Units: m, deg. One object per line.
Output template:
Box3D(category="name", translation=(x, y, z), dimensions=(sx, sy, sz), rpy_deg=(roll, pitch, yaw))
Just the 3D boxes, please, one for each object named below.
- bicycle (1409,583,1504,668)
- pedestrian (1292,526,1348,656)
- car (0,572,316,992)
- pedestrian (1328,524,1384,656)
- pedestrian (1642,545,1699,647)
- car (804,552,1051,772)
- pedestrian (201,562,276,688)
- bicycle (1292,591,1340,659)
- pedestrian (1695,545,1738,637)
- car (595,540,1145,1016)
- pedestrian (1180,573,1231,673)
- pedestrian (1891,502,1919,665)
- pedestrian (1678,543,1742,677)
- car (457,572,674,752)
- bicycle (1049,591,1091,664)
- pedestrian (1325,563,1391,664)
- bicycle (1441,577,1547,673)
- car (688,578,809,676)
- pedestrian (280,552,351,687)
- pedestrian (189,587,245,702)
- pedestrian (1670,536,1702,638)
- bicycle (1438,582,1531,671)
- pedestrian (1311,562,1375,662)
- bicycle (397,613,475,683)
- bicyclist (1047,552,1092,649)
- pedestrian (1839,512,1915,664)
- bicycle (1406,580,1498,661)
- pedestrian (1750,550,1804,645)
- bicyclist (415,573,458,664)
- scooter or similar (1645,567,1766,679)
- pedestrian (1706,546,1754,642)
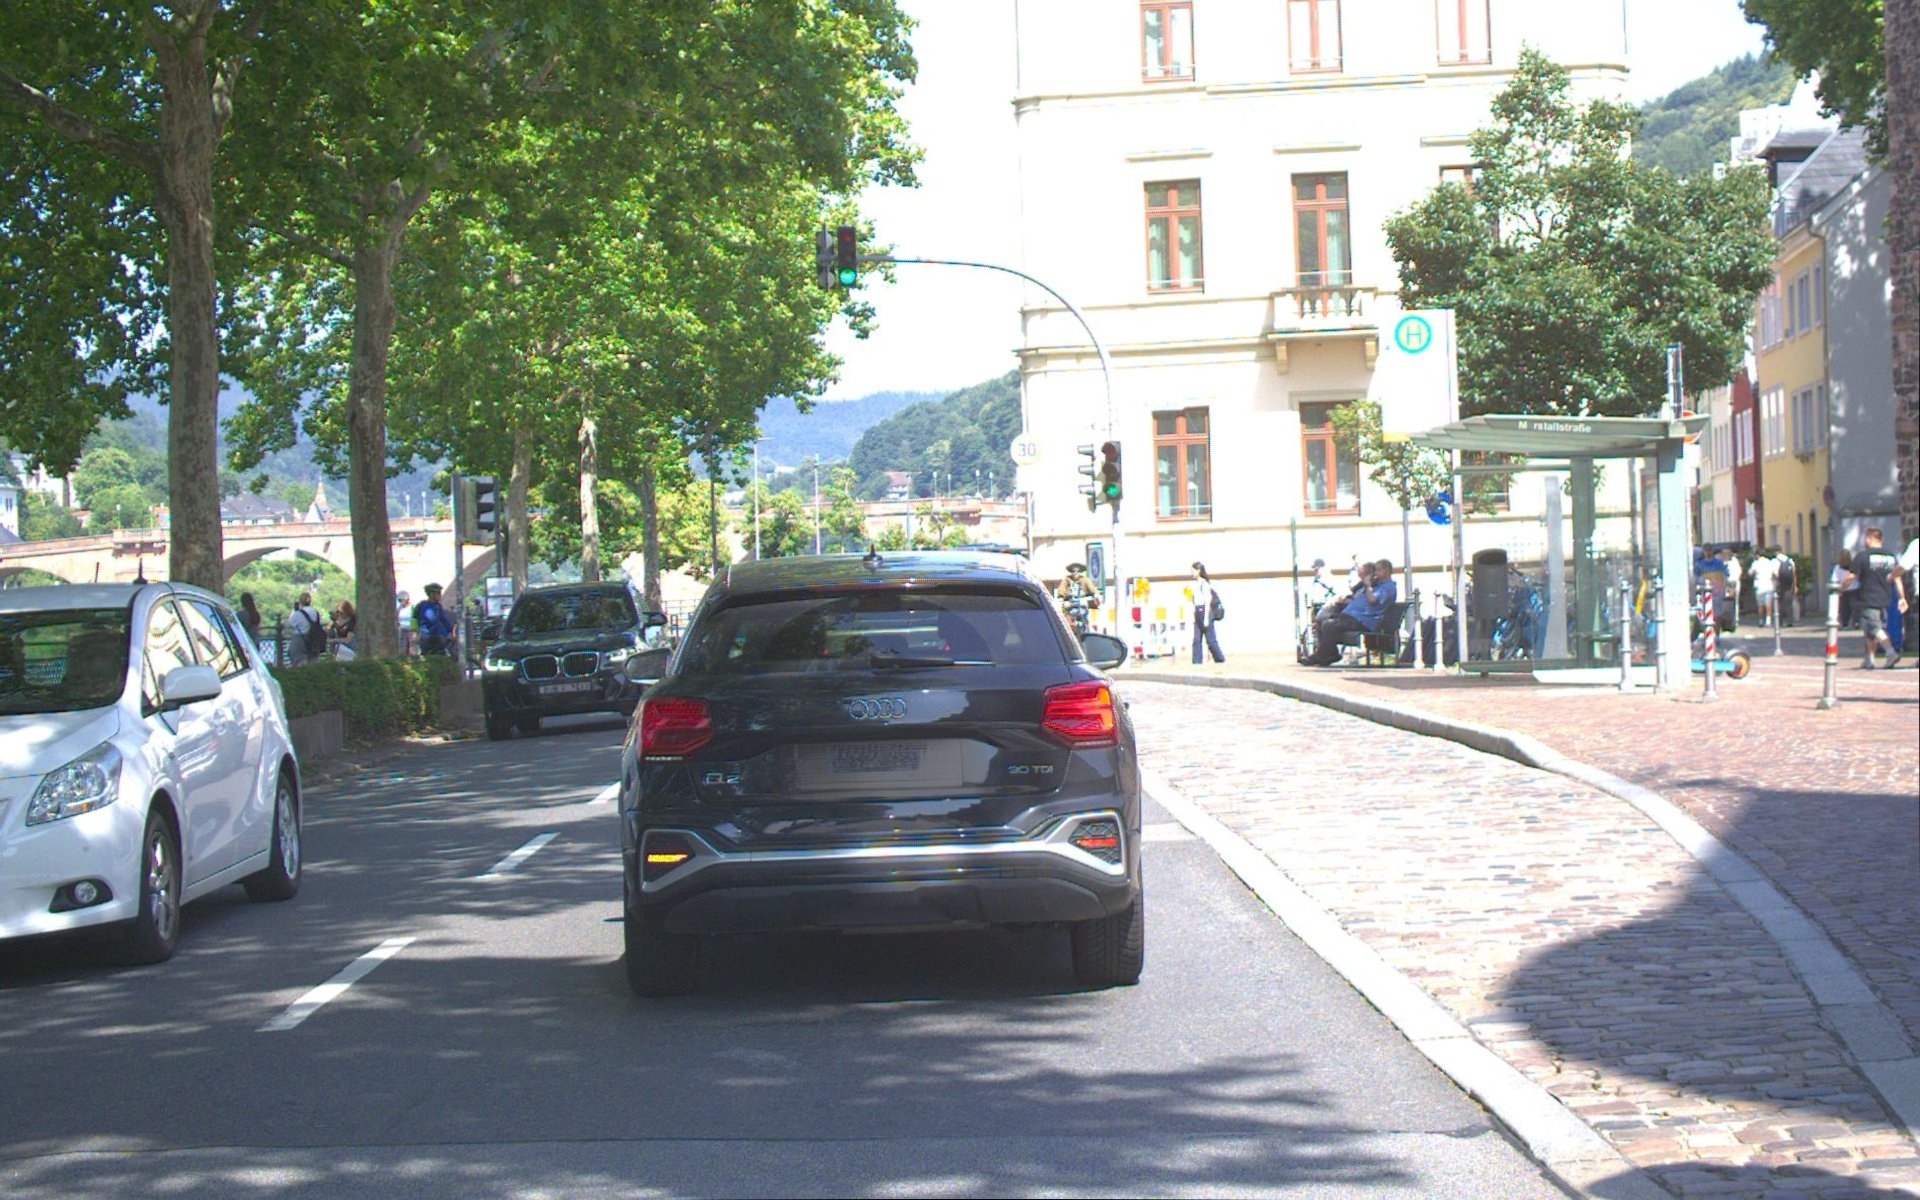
Box3D(category="bicycle", translation=(6.113, 0.314, 42.325), dimensions=(1.201, 1.032, 0.179), rpy_deg=(0, -1, -19))
Box3D(category="pedestrian", translation=(5.579, -0.134, 53.269), dimensions=(0.640, 2.007, 0.664), rpy_deg=(0, -1, 29))
Box3D(category="car", translation=(-4.141, 0.733, 15.170), dimensions=(1.738, 1.567, 4.092), rpy_deg=(-5, 1, 0))
Box3D(category="pedestrian", translation=(6.056, -0.152, 52.594), dimensions=(0.640, 2.007, 0.664), rpy_deg=(0, -1, 29))
Box3D(category="pedestrian", translation=(13.998, -0.077, 67.742), dimensions=(0.944, 2.007, 0.807), rpy_deg=(0, -1, 0))
Box3D(category="car", translation=(-0.254, 0.439, 26.703), dimensions=(1.793, 1.589, 3.399), rpy_deg=(0, 0, -1))
Box3D(category="pedestrian", translation=(-10.370, 0.364, 49.422), dimensions=(0.911, 1.805, 0.585), rpy_deg=(0, -1, 4))
Box3D(category="bicycle", translation=(5.097, 0.352, 49.237), dimensions=(0.298, 0.960, 1.188), rpy_deg=(0, 0, -13))
Box3D(category="pedestrian", translation=(12.513, -0.146, 56.850), dimensions=(0.622, 1.527, 0.466), rpy_deg=(0, -1, 3))
Box3D(category="car", translation=(-0.307, 0.552, 12.866), dimensions=(1.743, 1.504, 3.647), rpy_deg=(-1, 1, -1))
Box3D(category="pedestrian", translation=(3.704, 0.349, 51.844), dimensions=(0.693, 1.495, 0.514), rpy_deg=(0, -1, -4))
Box3D(category="pedestrian", translation=(11.302, -0.185, 40.067), dimensions=(0.668, 1.877, 0.821), rpy_deg=(0, -1, -1))
Box3D(category="pedestrian", translation=(7.817, 0.103, 35.843), dimensions=(0.557, 1.380, 0.588), rpy_deg=(0, -1, 2))
Box3D(category="car", translation=(-4.417, 0.647, 39.083), dimensions=(1.813, 1.719, 4.422), rpy_deg=(-7, 1, 0))
Box3D(category="bicycle", translation=(1.635, 0.407, 51.453), dimensions=(0.437, 1.082, 1.677), rpy_deg=(0, 0, -5))
Box3D(category="pedestrian", translation=(4.838, 0.165, 41.801), dimensions=(0.663, 1.207, 0.641), rpy_deg=(0, -1, -6))
Box3D(category="bicycle", translation=(6.346, 0.297, 40.815), dimensions=(1.303, 1.124, 0.179), rpy_deg=(0, -1, -19))
Box3D(category="car", translation=(-3.991, 0.520, 65.470), dimensions=(1.993, 1.800, 4.000), rpy_deg=(0, 0, 1))
Box3D(category="pedestrian", translation=(-9.668, 0.292, 51.579), dimensions=(0.911, 2.007, 0.585), rpy_deg=(0, -1, 4))
Box3D(category="pedestrian", translation=(-10.471, 0.624, 48.458), dimensions=(0.625, 1.613, 0.585), rpy_deg=(0, -1, 4))
Box3D(category="pedestrian", translation=(12.011, -0.210, 56.868), dimensions=(0.449, 1.675, 0.466), rpy_deg=(0, -1, 3))
Box3D(category="bicycle", translation=(6.341, 0.321, 41.581), dimensions=(1.157, 1.066, 0.179), rpy_deg=(0, -1, -19))
Box3D(category="pedestrian", translation=(4.737, 0.145, 42.557), dimensions=(0.663, 1.227, 0.641), rpy_deg=(0, -1, -6))
Box3D(category="bicycle", translation=(-7.545, 0.694, 49.517), dimensions=(1.093, 1.003, 0.304), rpy_deg=(0, -1, -7))
Box3D(category="bicyclist", translation=(1.641, 0.006, 51.448), dimensions=(0.605, 1.445, 0.591), rpy_deg=(0, -1, -5))
Box3D(category="pedestrian", translation=(11.001, -0.142, 41.256), dimensions=(0.652, 1.796, 0.847), rpy_deg=(-1, 0, -1))
Box3D(category="bicycle", translation=(6.164, 0.263, 43.056), dimensions=(1.184, 1.012, 0.179), rpy_deg=(0, -1, -19))
Box3D(category="pedestrian", translation=(17.242, -0.049, 72.548), dimensions=(0.940, 2.007, 0.807), rpy_deg=(0, -1, 0))
Box3D(category="bicyclist", translation=(-7.536, 0.271, 49.506), dimensions=(0.566, 1.307, 0.552), rpy_deg=(0, -1, -5))
Box3D(category="scooter or similar", translation=(7.149, 0.222, 32.985), dimensions=(1.088, 1.062, 0.323), rpy_deg=(0, -1, -2))
Box3D(category="pedestrian", translation=(16.258, -0.126, 72.614), dimensions=(0.839, 2.007, 0.738), rpy_deg=(0, -1, 0))
